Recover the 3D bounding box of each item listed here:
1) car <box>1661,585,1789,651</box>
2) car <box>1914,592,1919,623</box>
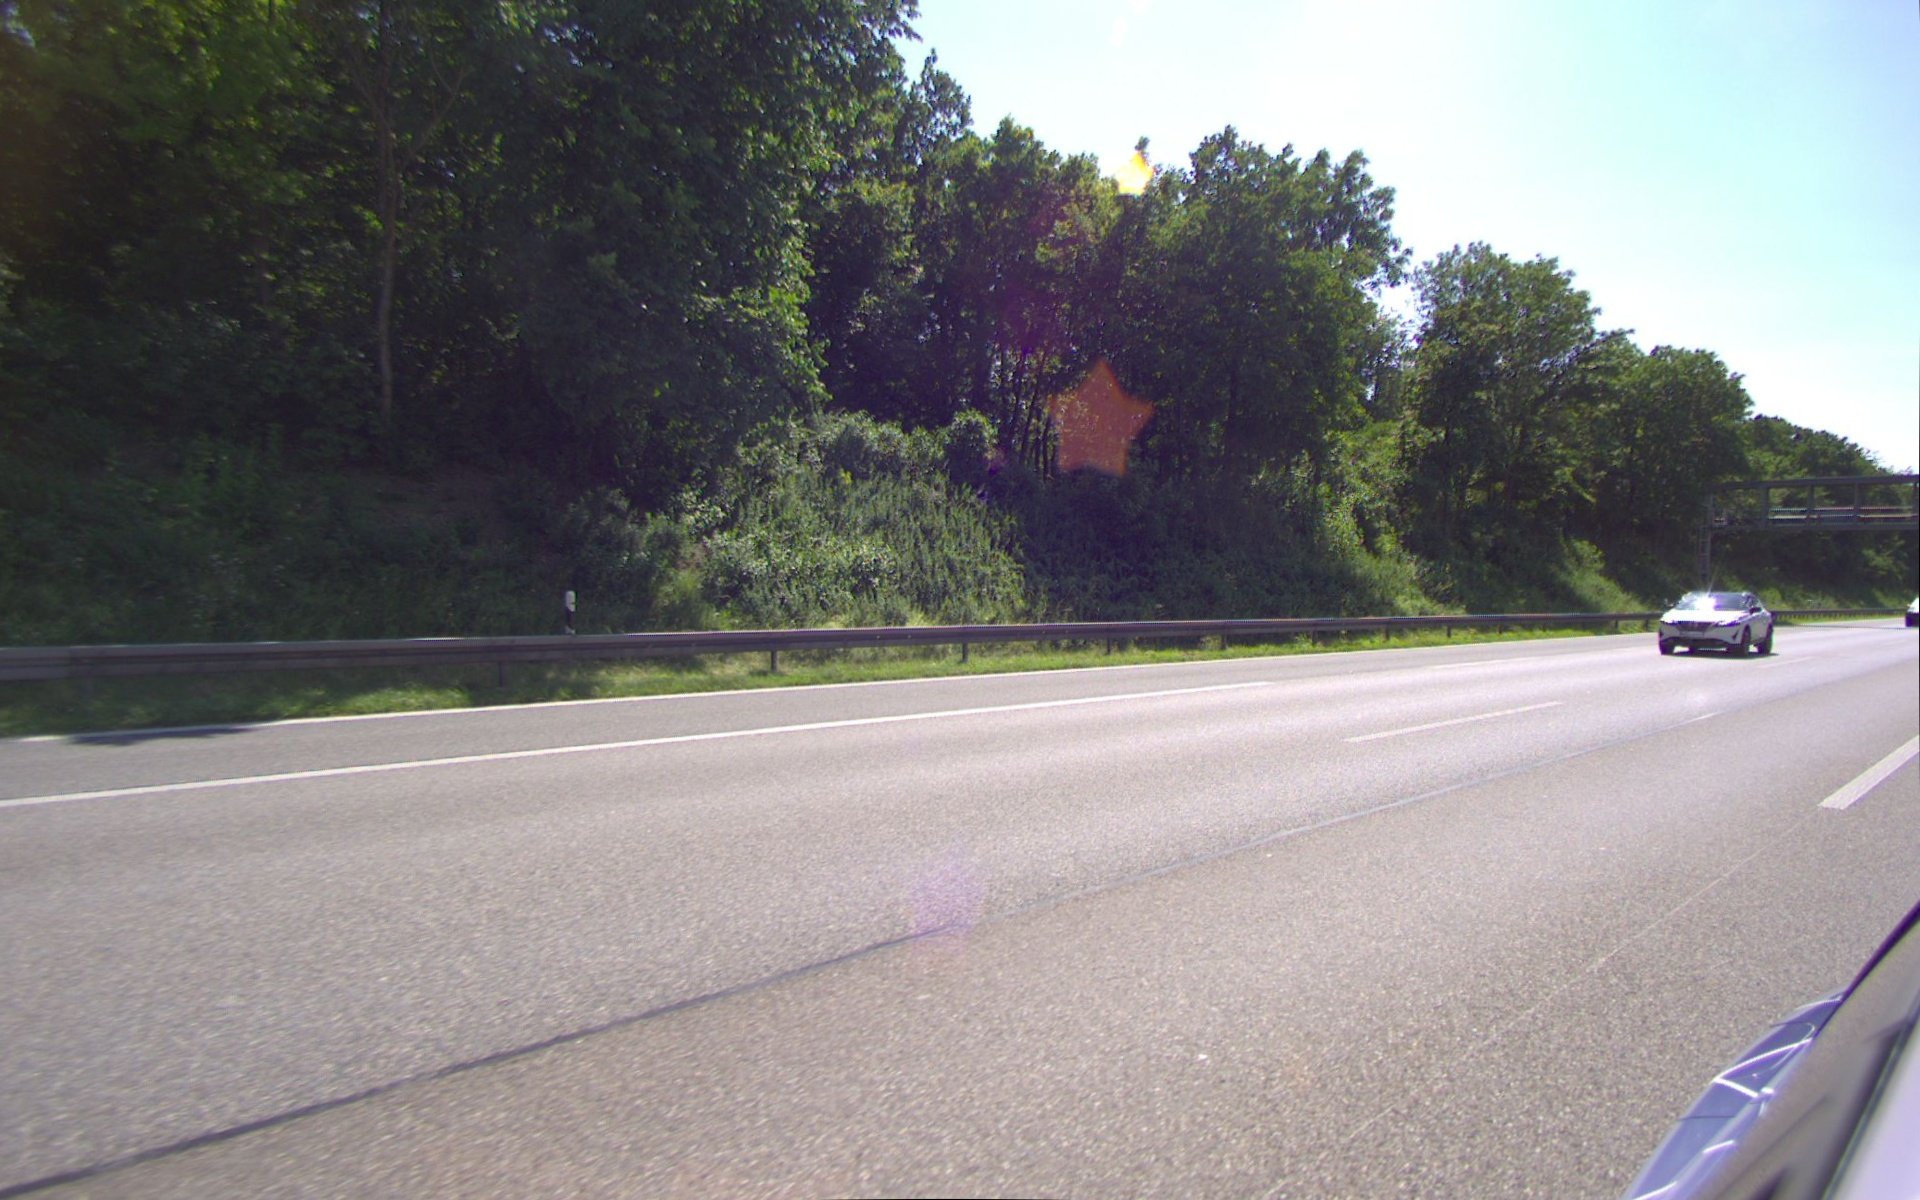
[{"bbox_3d":[20.044,0.420,26.470,3.964,1.588,1.847,0,0,-40],"label":"car"},{"bbox_3d":[54.344,0.414,55.810,4.601,1.690,1.924,0,0,-39],"label":"car"}]
